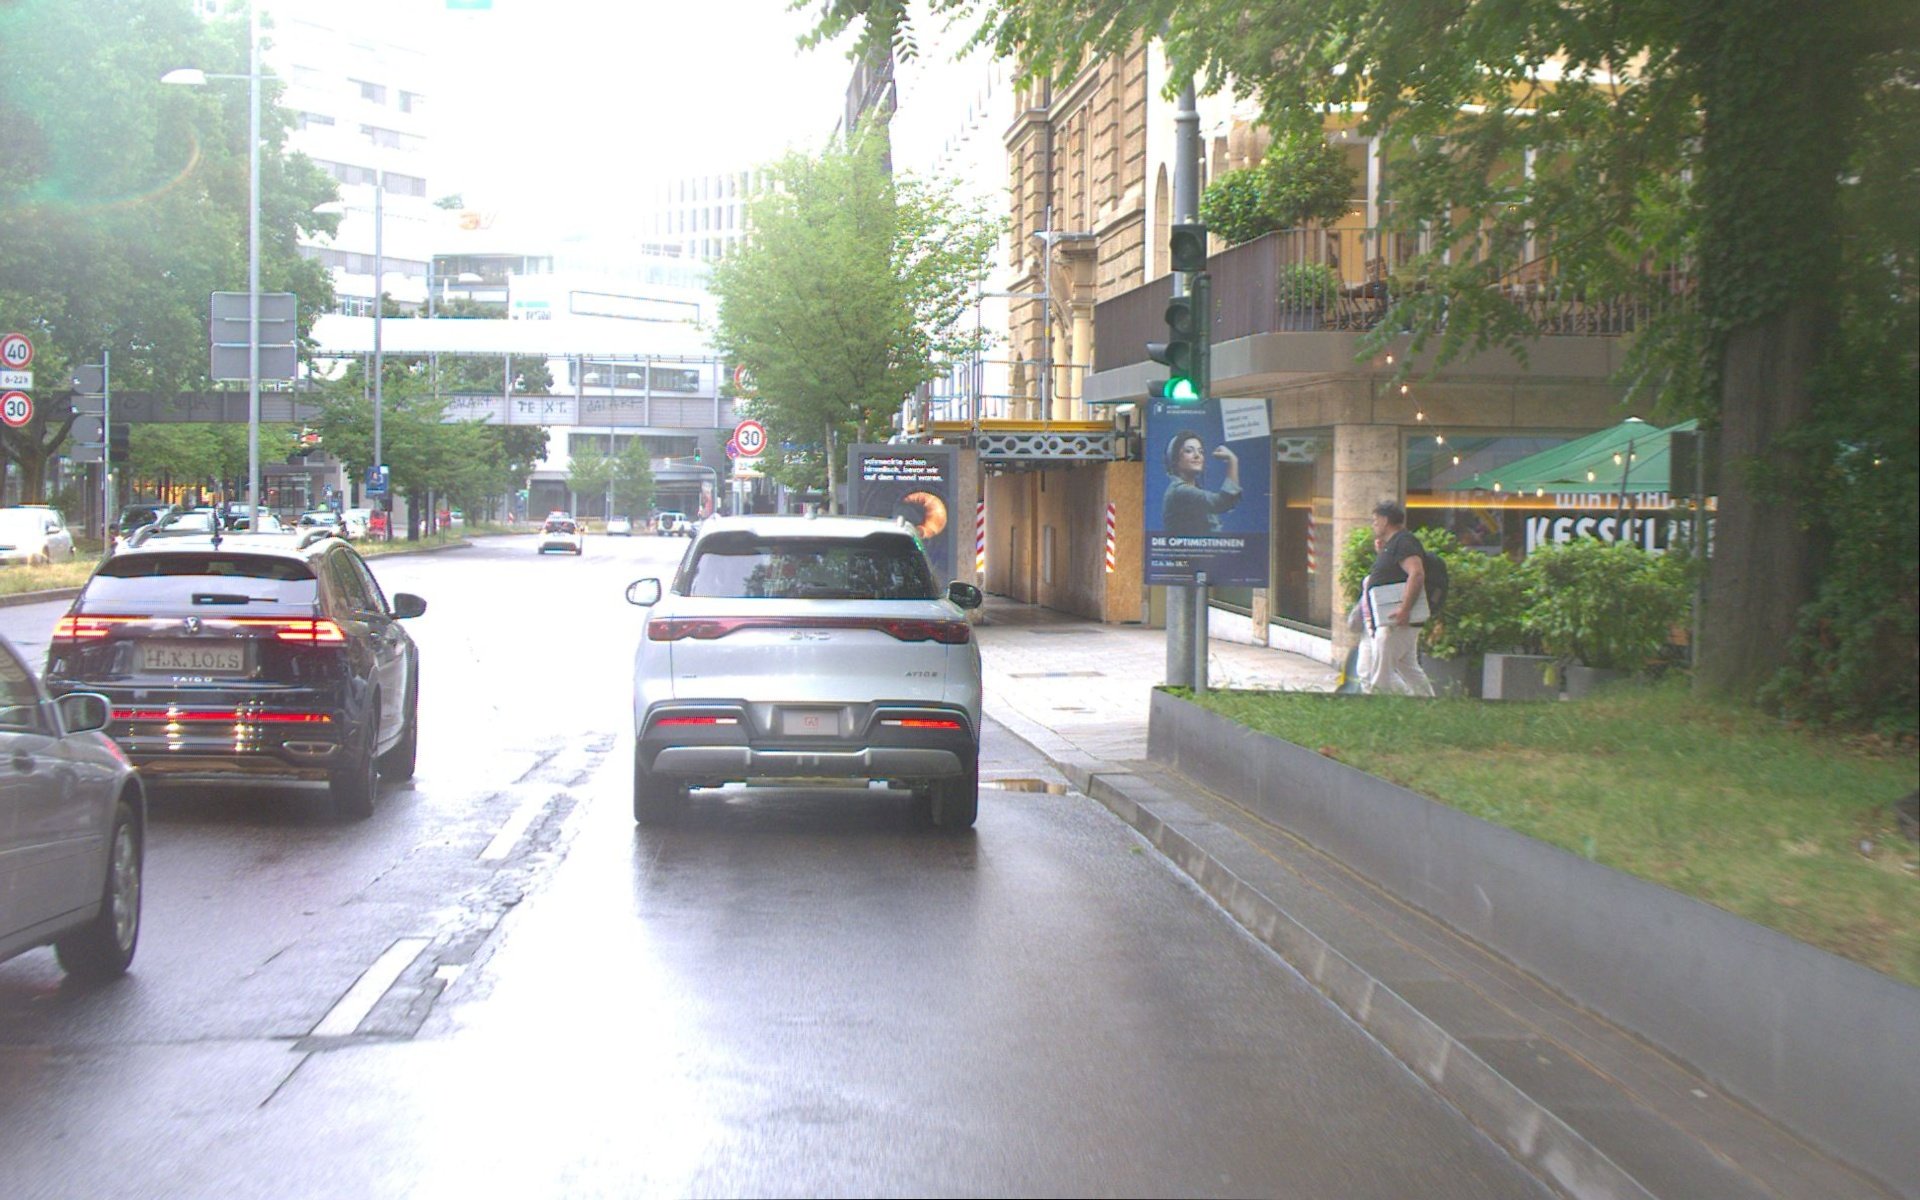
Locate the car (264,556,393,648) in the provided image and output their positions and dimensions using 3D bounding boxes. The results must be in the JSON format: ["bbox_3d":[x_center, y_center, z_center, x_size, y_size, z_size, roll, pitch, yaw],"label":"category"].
[{"bbox_3d":[-10.892,0.005,59.560,1.691,1.458,4.346,-1,1,-4],"label":"car"}]

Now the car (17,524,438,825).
[{"bbox_3d":[-3.984,0.320,19.339,1.691,1.458,4.346,-1,1,-4],"label":"car"}]

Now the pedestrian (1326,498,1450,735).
[{"bbox_3d":[3.265,0.120,26.286,0.859,1.773,0.718,1,1,2],"label":"pedestrian"}]

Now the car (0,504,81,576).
[{"bbox_3d":[-19.919,-1.263,71.950,2.159,1.458,4.346,-1,1,-4],"label":"car"}]

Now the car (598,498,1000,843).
[{"bbox_3d":[-0.845,0.306,19.238,1.947,1.660,4.346,2,1,-1],"label":"car"}]

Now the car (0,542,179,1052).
[{"bbox_3d":[-3.650,0.589,10.290,1.691,1.458,4.346,-1,1,-1],"label":"car"}]

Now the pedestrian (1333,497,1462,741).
[{"bbox_3d":[3.239,0.132,25.520,0.859,1.773,0.718,1,1,2],"label":"pedestrian"}]

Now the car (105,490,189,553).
[{"bbox_3d":[-25.292,-2.453,107.035,1.794,1.903,4.501,-1,1,-4],"label":"car"}]

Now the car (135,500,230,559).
[{"bbox_3d":[-20.801,-1.897,92.075,1.794,1.505,4.501,-1,1,-4],"label":"car"}]

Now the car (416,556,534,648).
[{"bbox_3d":[-8.403,-0.003,59.853,1.691,1.458,4.346,-1,1,-4],"label":"car"}]

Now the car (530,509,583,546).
[{"bbox_3d":[-16.614,-2.989,141.680,1.978,1.458,4.346,-1,1,-4],"label":"car"}]

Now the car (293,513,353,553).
[{"bbox_3d":[-24.463,-2.590,132.128,1.794,1.505,4.346,-1,1,-4],"label":"car"}]

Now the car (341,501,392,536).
[{"bbox_3d":[-26.535,-3.655,153.713,1.794,1.505,4.346,-1,1,-4],"label":"car"}]

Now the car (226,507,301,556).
[{"bbox_3d":[-22.380,-2.210,110.579,1.794,1.505,4.501,-1,1,-4],"label":"car"}]
